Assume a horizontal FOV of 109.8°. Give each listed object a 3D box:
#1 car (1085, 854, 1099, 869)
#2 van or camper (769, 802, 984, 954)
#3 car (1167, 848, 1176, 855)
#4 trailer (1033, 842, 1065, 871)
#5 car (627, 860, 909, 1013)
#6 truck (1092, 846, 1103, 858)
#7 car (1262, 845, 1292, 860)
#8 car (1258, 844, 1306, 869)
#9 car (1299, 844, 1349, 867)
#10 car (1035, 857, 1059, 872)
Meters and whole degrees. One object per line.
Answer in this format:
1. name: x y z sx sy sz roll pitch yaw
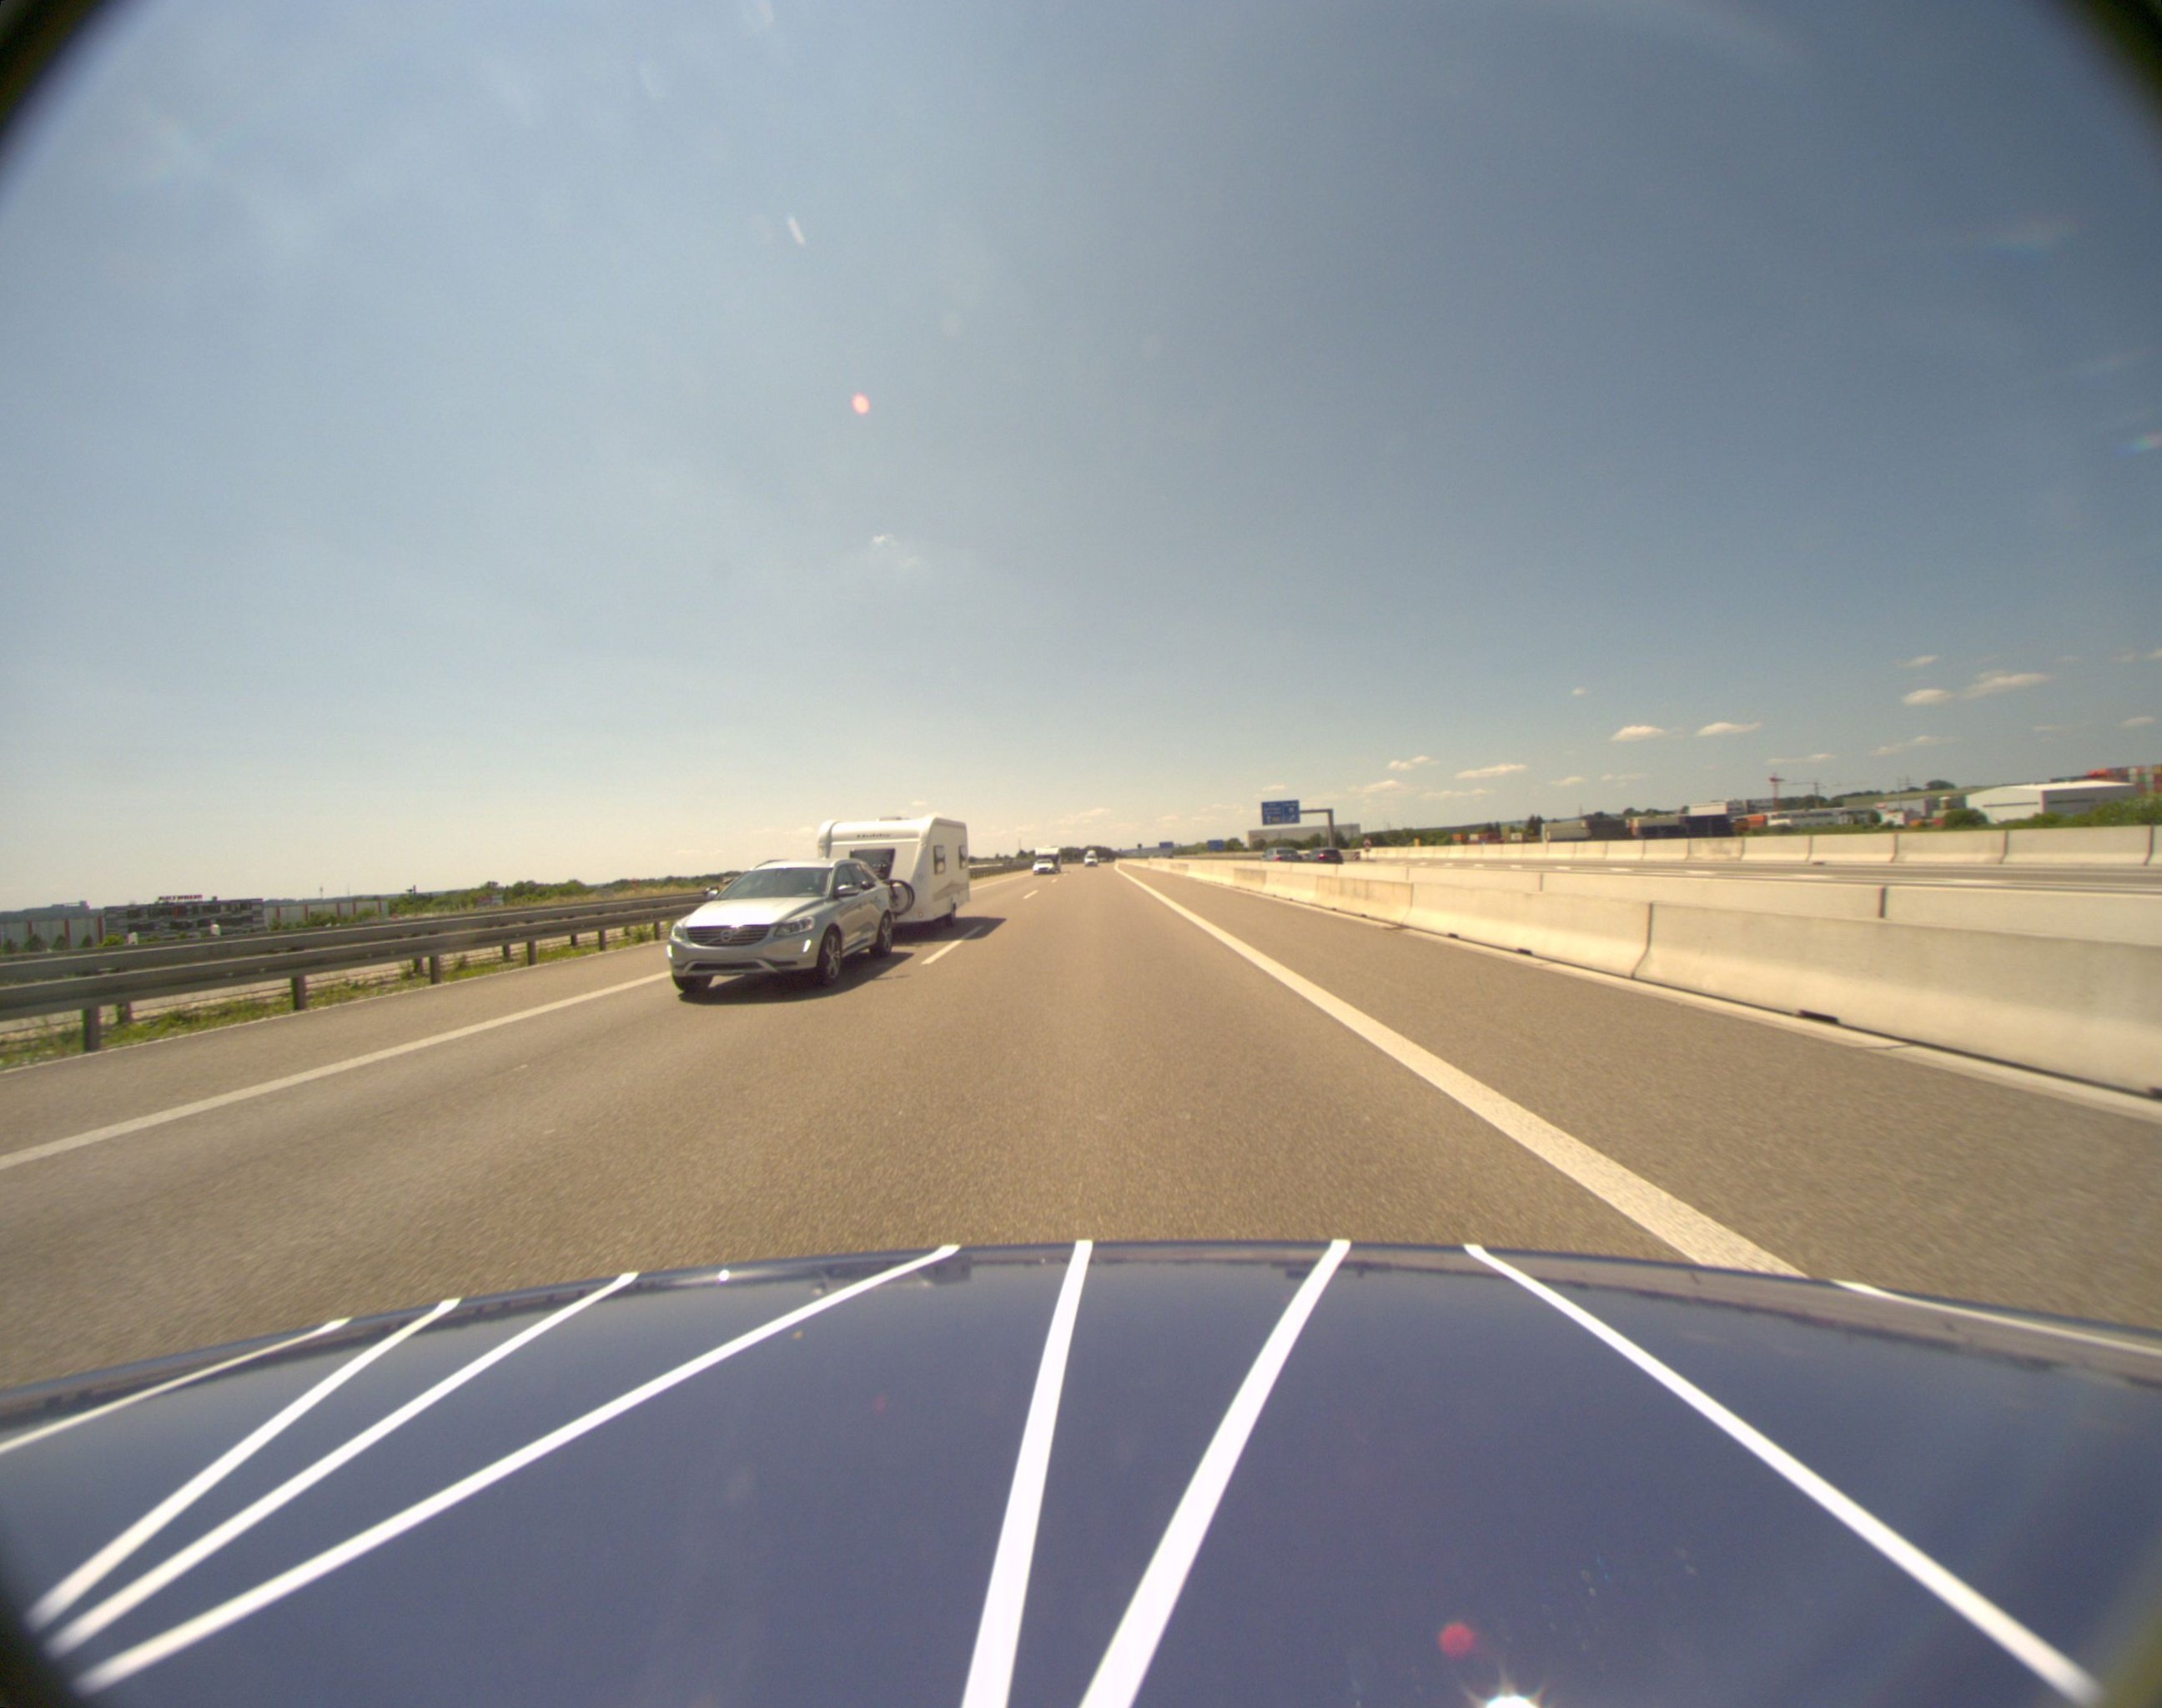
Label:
1. car: 1.669 1.074 111.931 1.998 2.002 4.000 -2 0 1
2. van or camper: -4.113 0.444 17.310 2.518 2.577 7.818 -2 0 1
3. car: 23.579 -0.664 198.578 1.737 1.527 4.549 -2 0 1
4. trailer: -3.101 0.254 75.683 2.500 2.686 7.156 -2 0 3
5. car: -4.070 0.943 10.972 1.885 1.613 4.904 -2 0 1
6. truck: 4.079 -0.524 188.183 2.167 2.797 6.492 -2 0 5
7. car: 20.477 -0.141 79.532 1.915 1.412 4.550 -3 0 1
8. car: 12.539 0.108 47.574 1.847 1.412 4.525 -2 0 1
9. car: 16.457 0.063 51.721 1.917 1.412 4.908 -2 0 1
10. car: -3.110 0.947 70.247 1.872 1.352 3.673 -1 0 3
